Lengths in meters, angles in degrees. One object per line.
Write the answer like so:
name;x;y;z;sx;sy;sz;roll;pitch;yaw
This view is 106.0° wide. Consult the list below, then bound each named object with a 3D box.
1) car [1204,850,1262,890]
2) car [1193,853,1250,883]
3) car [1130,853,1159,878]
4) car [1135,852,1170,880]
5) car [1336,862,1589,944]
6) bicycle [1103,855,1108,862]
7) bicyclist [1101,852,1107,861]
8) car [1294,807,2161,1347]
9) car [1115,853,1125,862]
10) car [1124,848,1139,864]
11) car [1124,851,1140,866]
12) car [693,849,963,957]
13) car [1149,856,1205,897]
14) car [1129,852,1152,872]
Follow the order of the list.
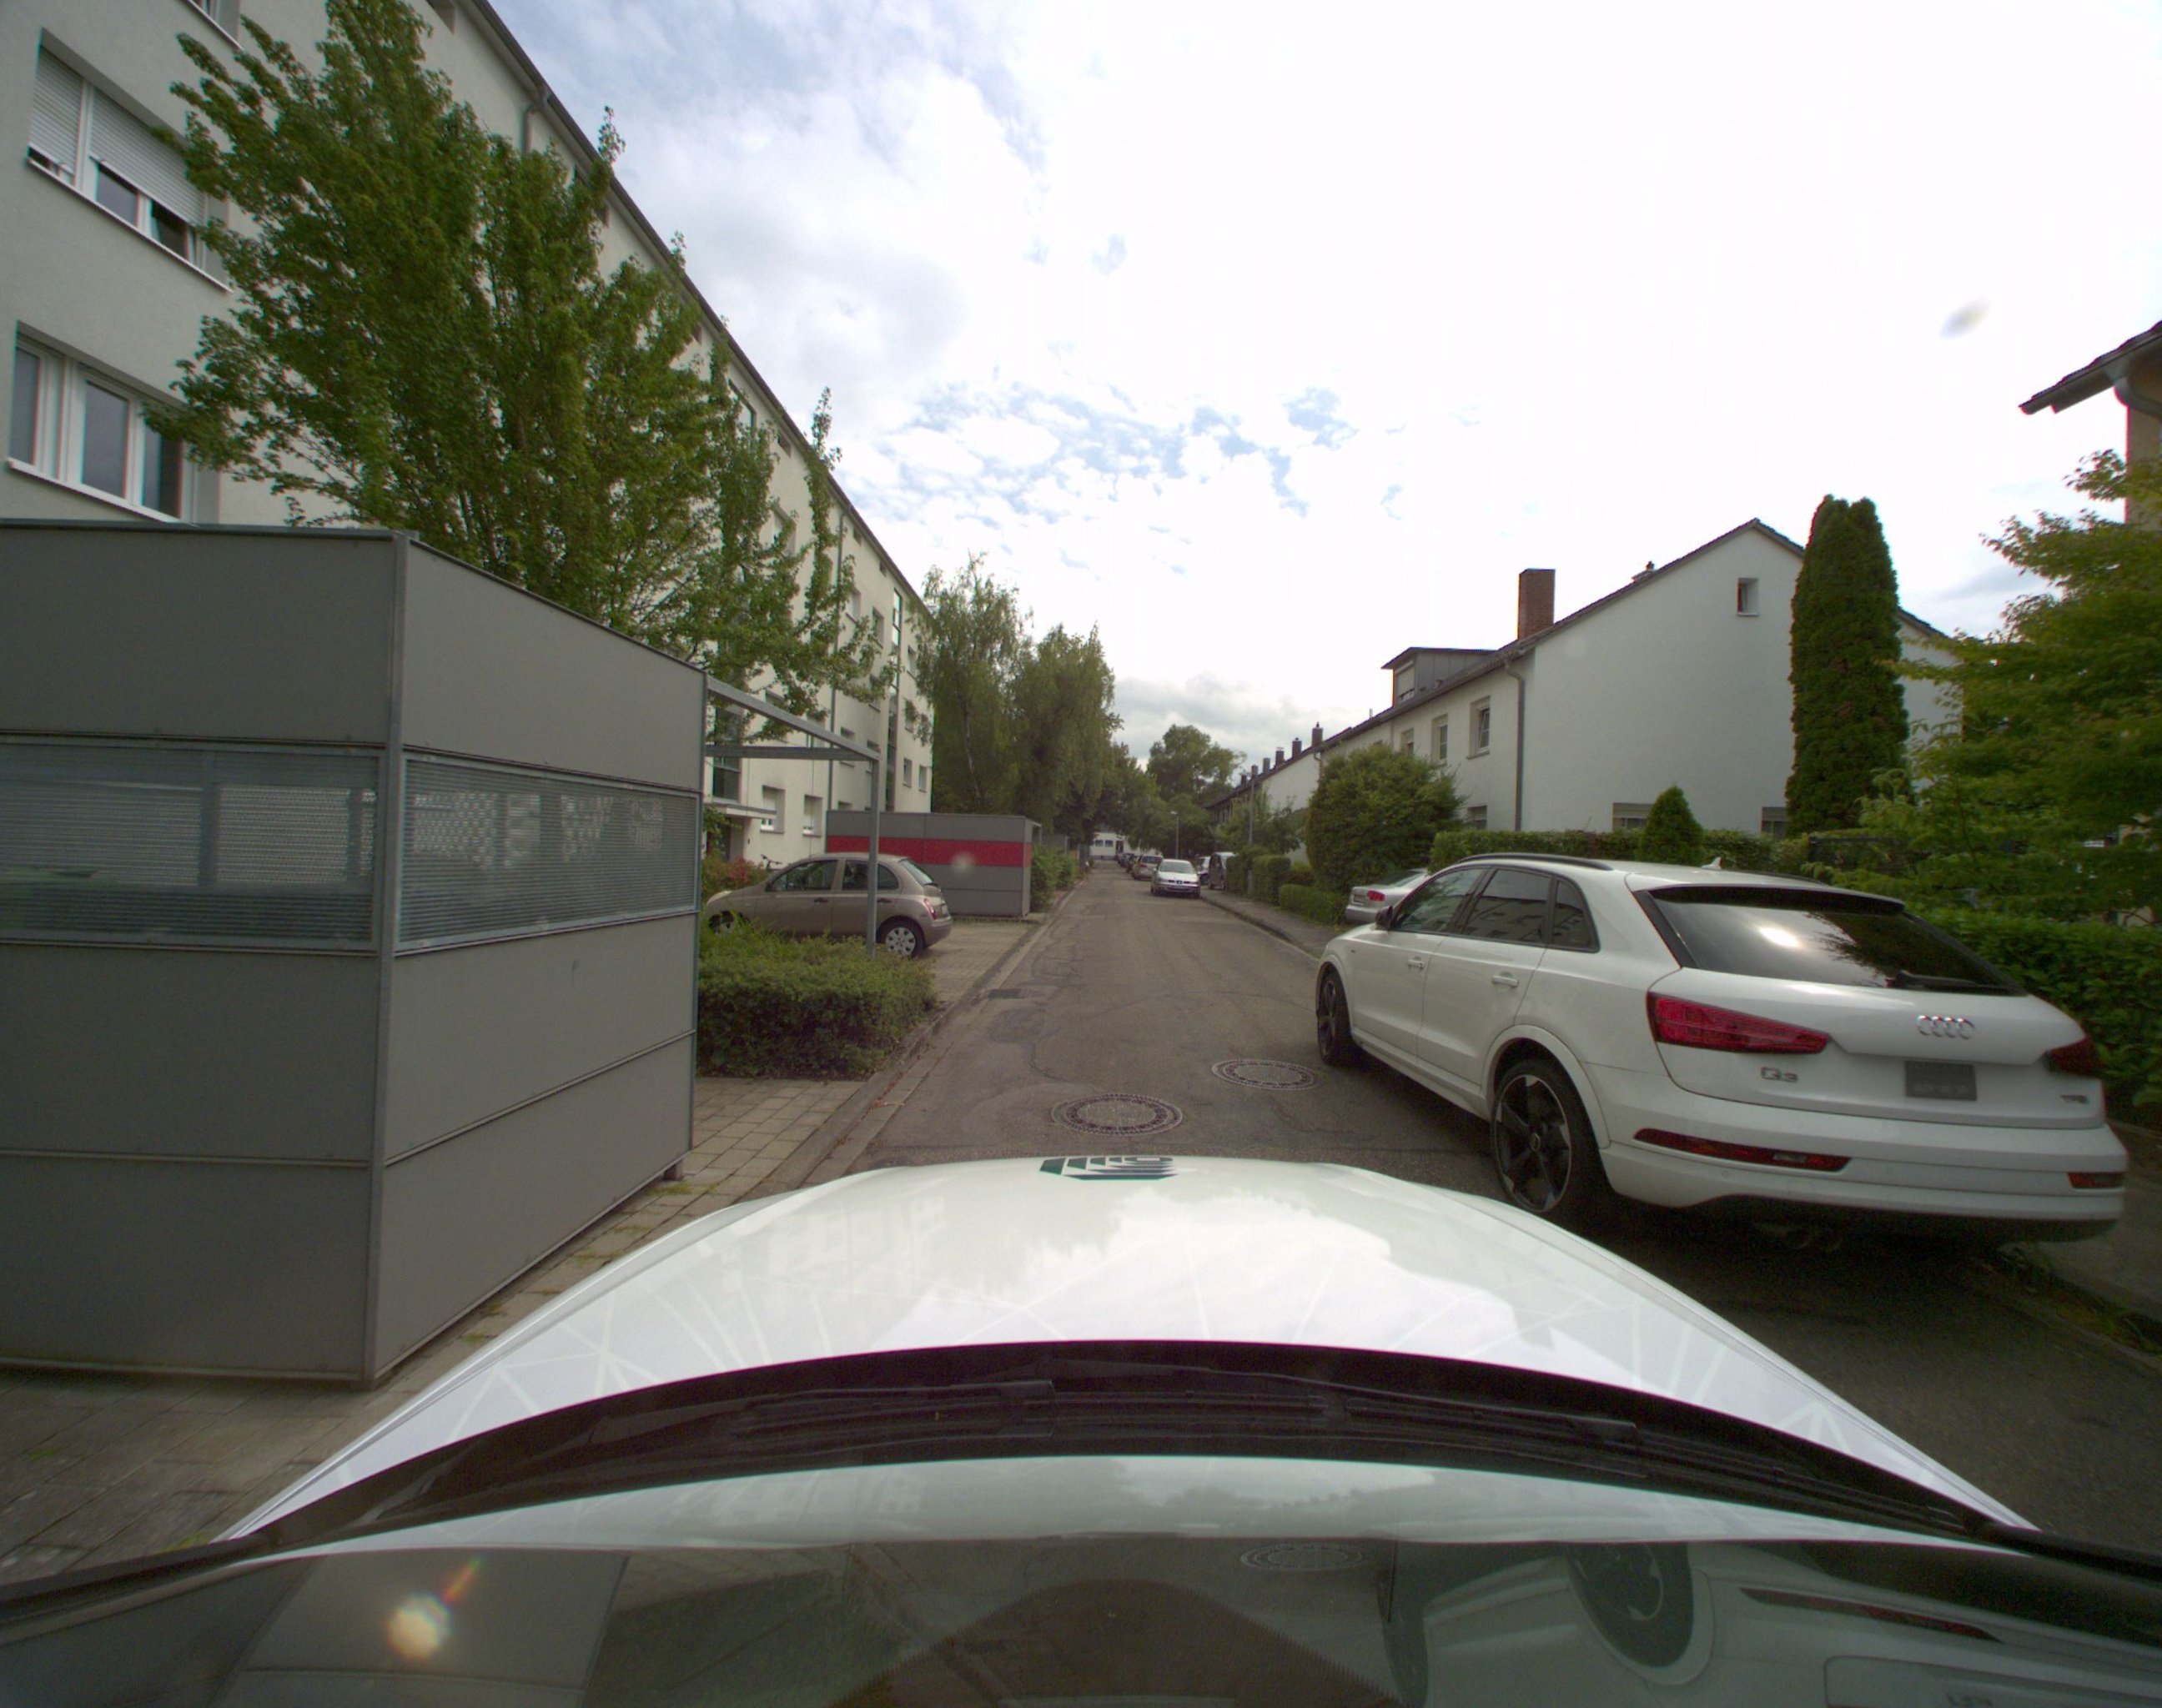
car;7.169;0.720;38.725;1.820;1.777;4.338;-1;-1;-2
car;7.604;0.732;44.321;2.808;1.569;1.740;0;0;-1
car;4.448;0.760;57.245;1.818;1.581;4.003;4;0;2
car;4.396;0.725;50.693;1.819;1.581;4.000;4;0;1
car;7.148;0.878;15.524;4.012;1.427;1.851;0;0;-4
bicycle;4.100;0.790;136.085;0.686;1.131;2.582;4;0;4
bicyclist;3.861;0.460;136.141;0.795;1.511;0.935;4;0;4
car;2.736;0.718;4.674;1.819;1.635;4.160;3;0;-1
car;7.118;0.627;148.528;1.818;1.581;4.003;4;0;2
car;6.635;0.251;107.662;1.818;1.883;4.003;4;0;2
car;5.994;0.539;96.044;1.818;1.581;4.003;4;0;2
car;-3.679;0.699;12.349;3.553;1.480;1.709;1;0;-3
car;3.712;0.848;32.110;1.818;1.370;4.333;4;0;3
car;5.136;0.682;70.634;1.818;1.581;4.195;4;0;2
